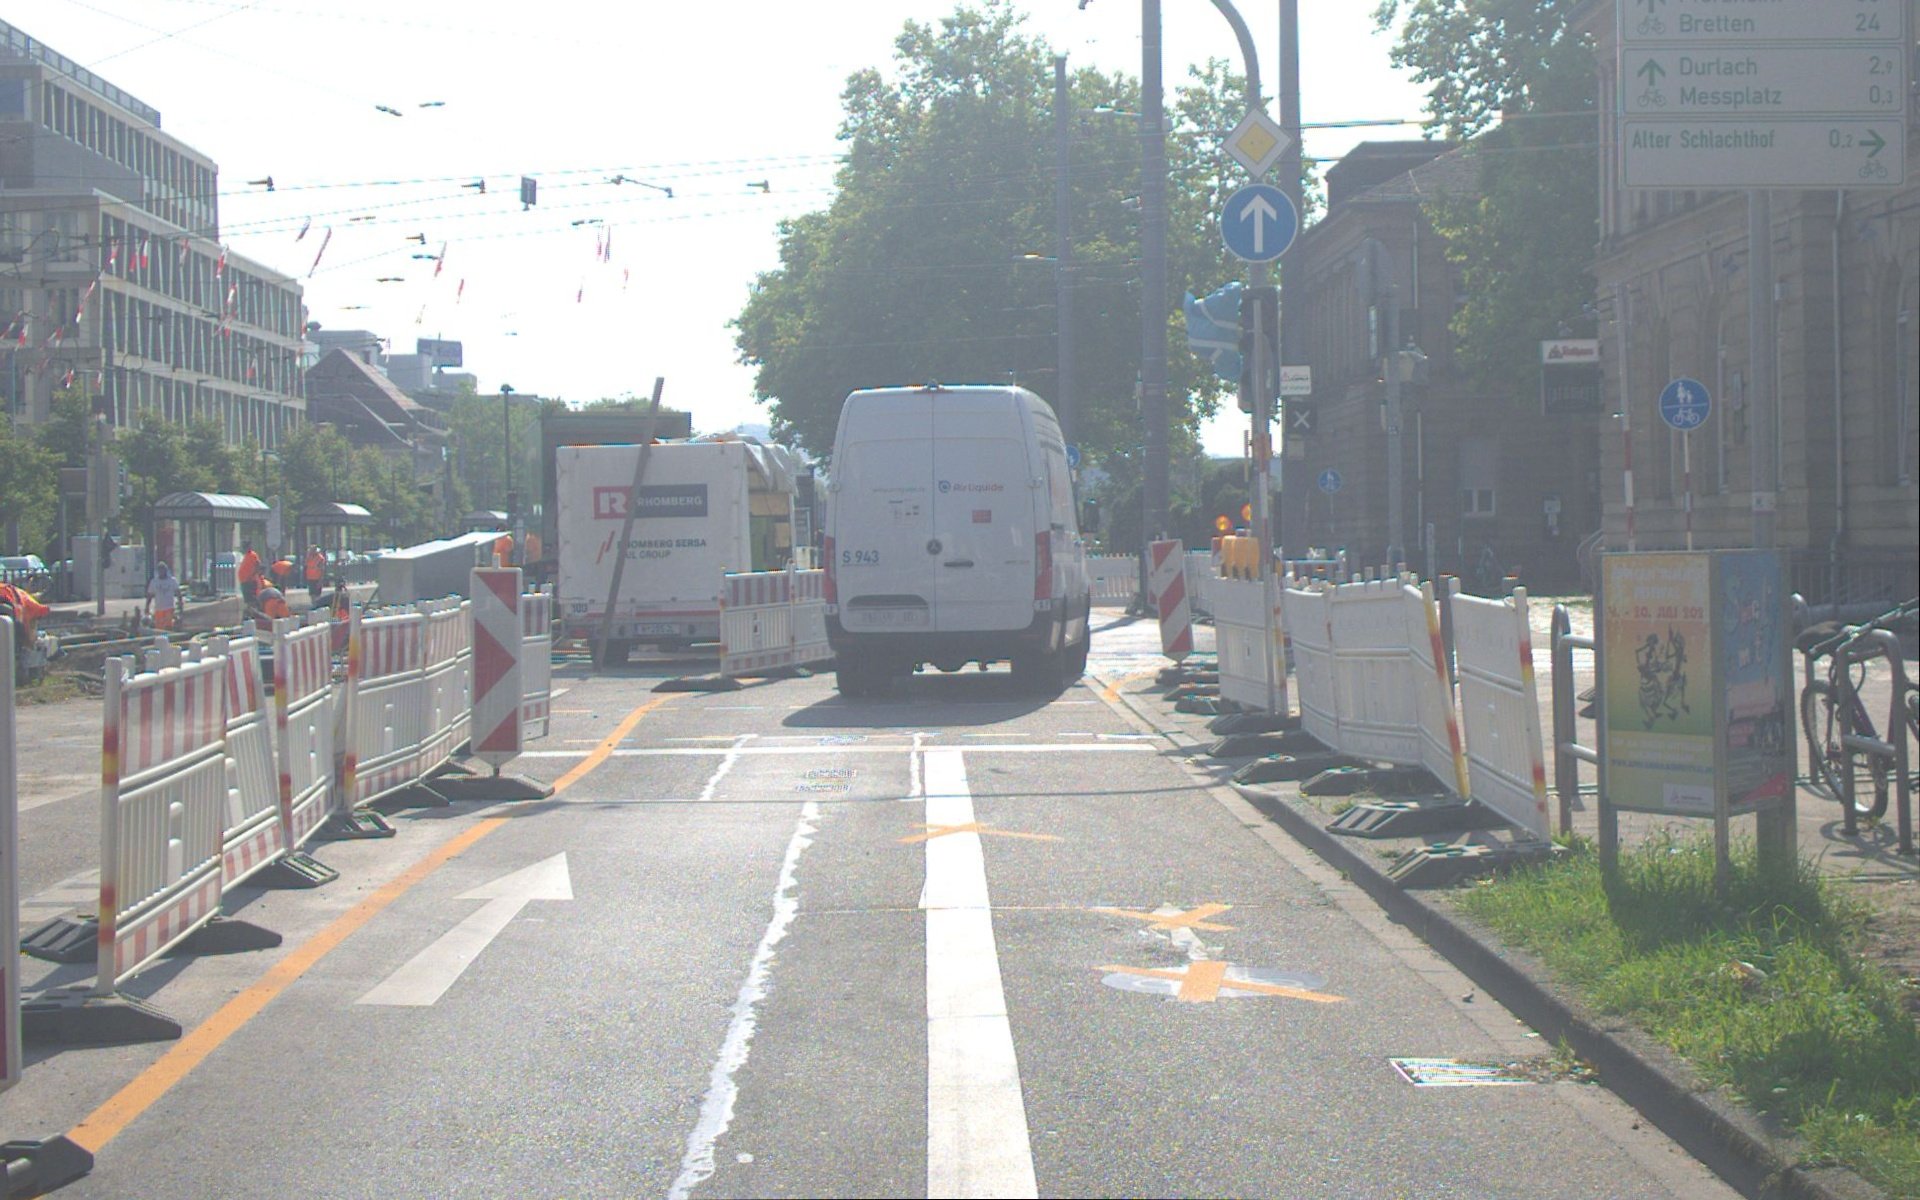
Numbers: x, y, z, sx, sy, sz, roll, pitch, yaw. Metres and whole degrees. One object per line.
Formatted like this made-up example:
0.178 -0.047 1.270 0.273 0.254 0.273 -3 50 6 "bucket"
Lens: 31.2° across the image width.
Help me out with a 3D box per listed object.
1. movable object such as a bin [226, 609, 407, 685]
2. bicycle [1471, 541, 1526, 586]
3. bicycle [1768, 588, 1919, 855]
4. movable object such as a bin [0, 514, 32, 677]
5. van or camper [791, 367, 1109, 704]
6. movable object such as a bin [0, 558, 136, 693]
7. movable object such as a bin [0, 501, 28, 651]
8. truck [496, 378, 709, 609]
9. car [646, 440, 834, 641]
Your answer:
-6.365 0.466 33.970 1.721 0.711 0.716 -1 1 33 "movable object such as a bin"
12.786 -0.871 81.677 0.491 0.996 1.819 -1 3 -20 "bicycle"
3.809 0.470 14.169 0.538 1.003 1.571 -2 1 0 "bicycle"
-9.920 -0.020 32.040 1.600 1.553 3.286 -1 1 1 "movable object such as a bin"
0.028 -0.611 30.939 2.116 2.672 5.249 -3 1 7 "van or camper"
-8.482 0.218 32.324 0.887 1.207 2.212 -1 1 1 "movable object such as a bin"
-20.709 -0.482 65.706 3.613 2.948 8.477 0 0 -1 "movable object such as a bin"
-6.620 -1.897 62.551 2.791 3.899 8.421 0 1 -13 "truck"
-2.823 -0.765 45.718 2.207 2.416 7.200 -1 1 -2 "car"
